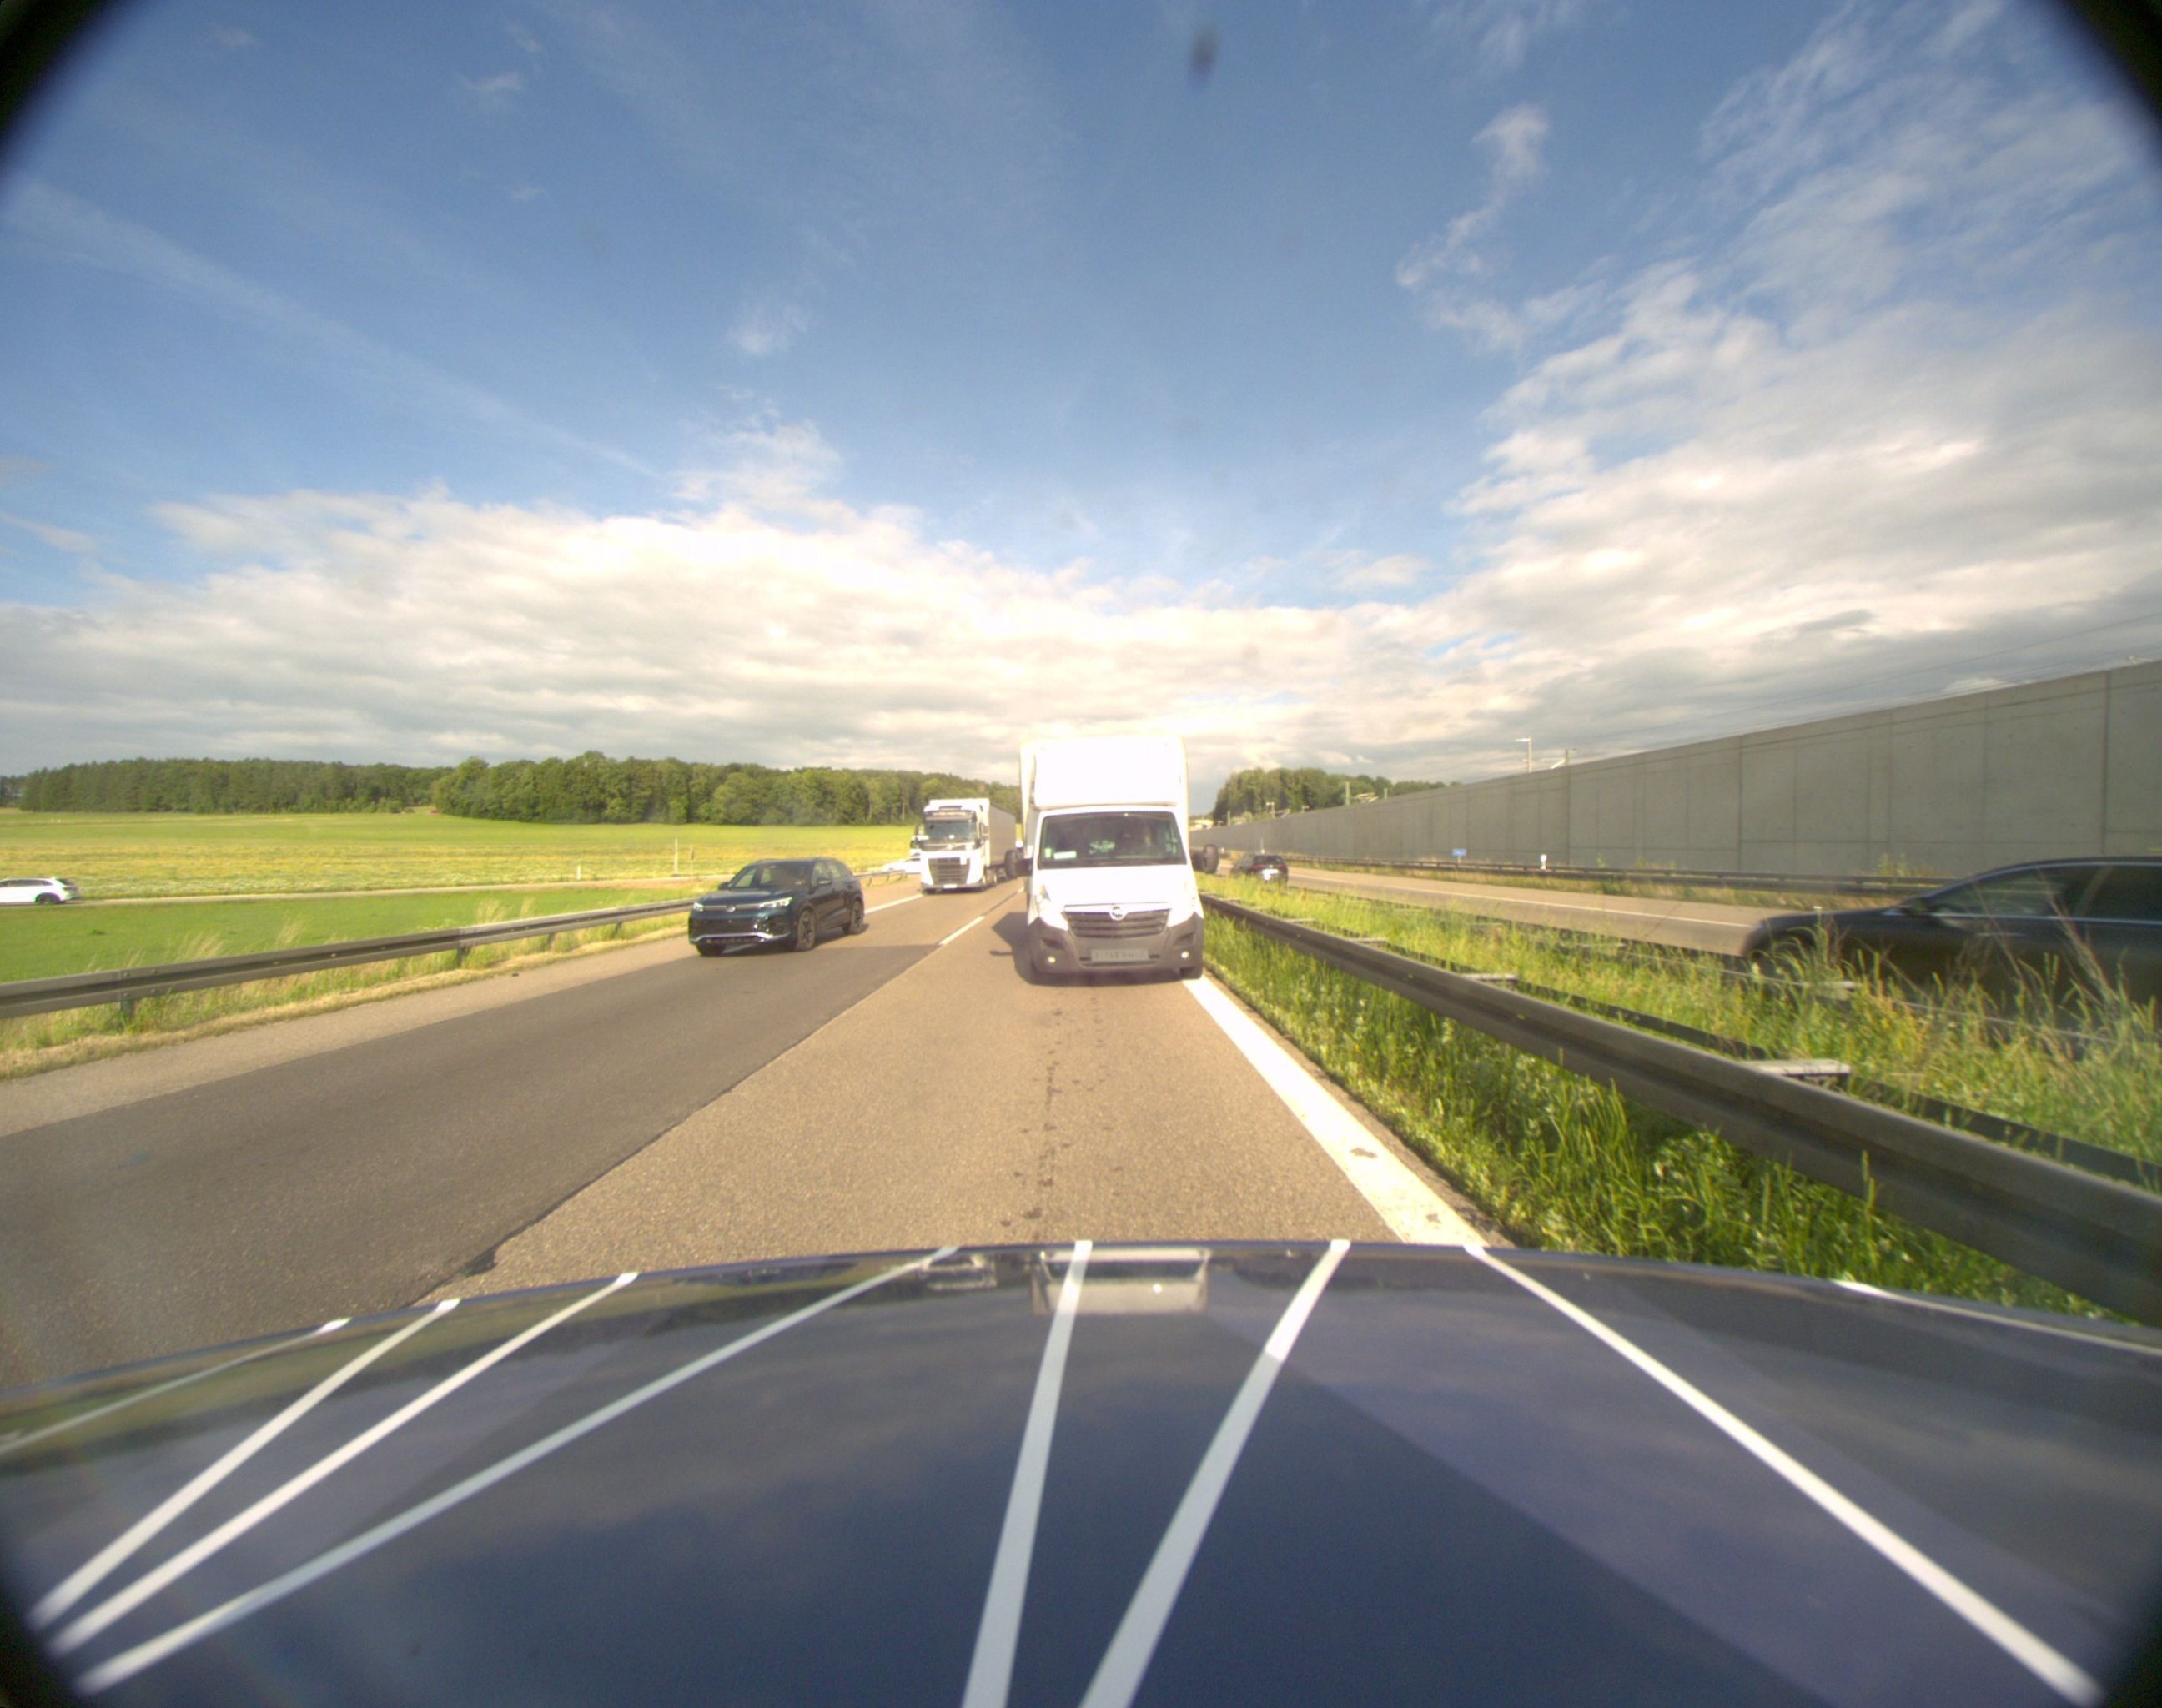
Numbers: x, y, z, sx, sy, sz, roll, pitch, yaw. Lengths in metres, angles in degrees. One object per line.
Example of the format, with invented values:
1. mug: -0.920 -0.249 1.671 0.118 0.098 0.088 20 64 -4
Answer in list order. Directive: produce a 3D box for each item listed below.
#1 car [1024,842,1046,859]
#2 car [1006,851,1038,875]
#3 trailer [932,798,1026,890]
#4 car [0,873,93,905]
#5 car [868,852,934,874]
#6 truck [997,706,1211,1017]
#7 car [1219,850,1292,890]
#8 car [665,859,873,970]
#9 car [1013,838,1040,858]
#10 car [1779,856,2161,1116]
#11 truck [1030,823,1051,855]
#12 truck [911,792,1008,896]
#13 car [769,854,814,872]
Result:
1. car: -4.843 -0.378 80.752 1.998 1.647 3.999 -2 1 1
2. car: -4.400 0.668 57.097 1.998 1.647 3.999 -2 1 1
3. trailer: -4.933 -0.521 39.629 2.826 3.959 12.127 -2 1 2
4. car: -60.076 2.030 43.408 4.007 1.609 1.995 -3 1 -39
5. car: -14.996 0.724 63.641 5.080 1.537 1.999 -2 1 -6
6. truck: 0.341 0.027 11.597 2.059 3.088 7.803 -2 1 2
7. car: 7.448 0.632 32.943 1.999 1.477 4.397 -2 1 -2
8. car: -5.501 0.972 14.069 1.998 1.587 4.119 -2 1 2
9. car: -4.807 -0.530 67.587 1.998 1.647 3.999 -2 1 1
10. car: 7.610 0.839 4.979 1.808 1.508 4.690 -2 1 1
11. truck: -4.805 -1.754 91.585 1.998 3.663 5.931 -2 1 1
12. truck: -5.093 -0.424 33.077 2.842 3.967 6.500 -2 1 2
13. car: -27.167 0.862 71.356 3.567 1.521 1.720 -3 1 -38
